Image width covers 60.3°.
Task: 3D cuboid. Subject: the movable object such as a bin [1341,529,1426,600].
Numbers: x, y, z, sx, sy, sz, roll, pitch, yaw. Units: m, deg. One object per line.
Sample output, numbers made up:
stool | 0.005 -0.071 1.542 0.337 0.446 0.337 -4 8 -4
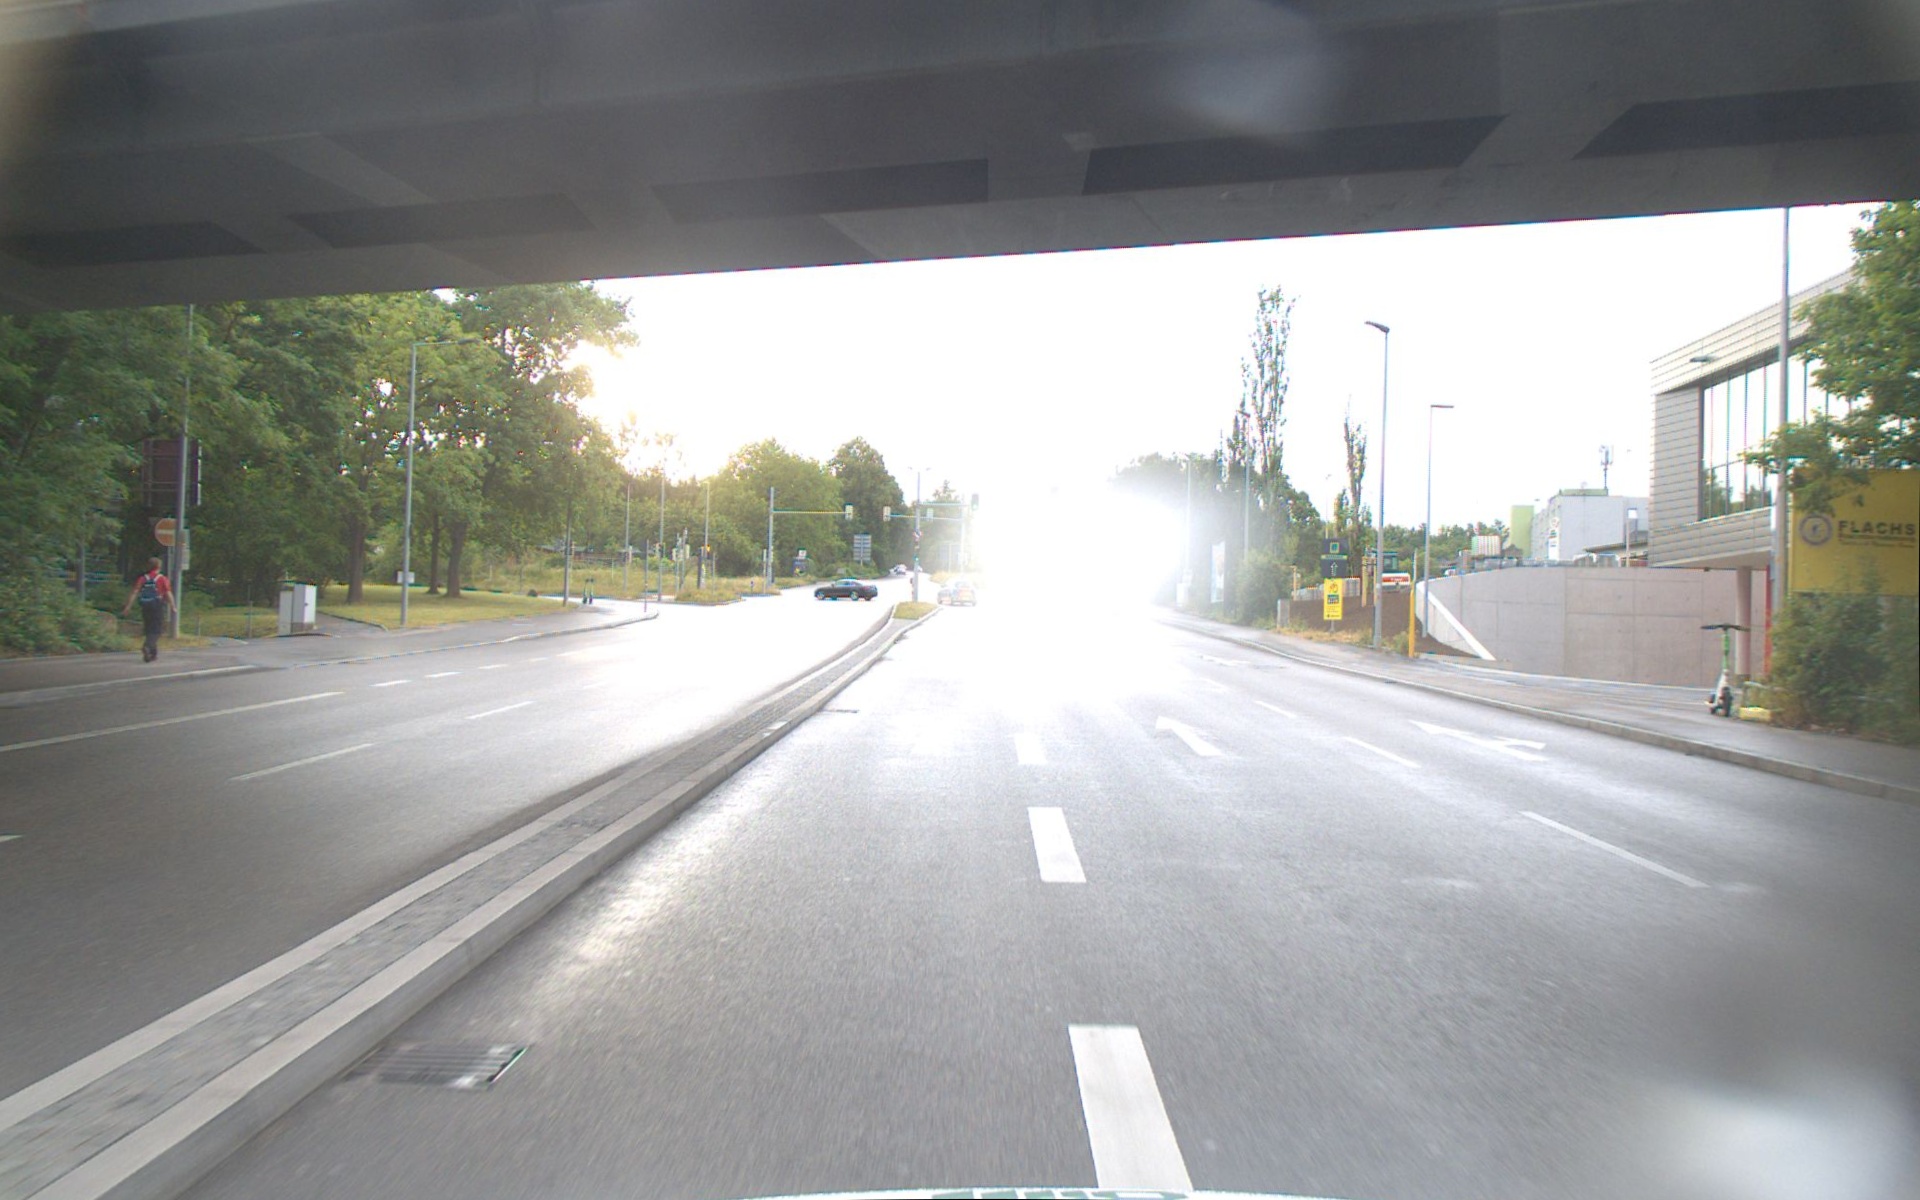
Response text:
movable object such as a bin | 20.991 -1.771 82.228 2.258 3.333 5.417 1 1 -7

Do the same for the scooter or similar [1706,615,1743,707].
scooter or similar | 10.019 0.778 21.695 0.250 1.149 1.280 2 0 18

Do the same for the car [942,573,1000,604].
car | 0.632 -0.726 100.791 2.047 1.748 4.170 3 -1 -22

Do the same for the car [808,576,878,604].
car | -7.769 -0.634 110.052 4.558 1.610 2.171 3 -1 -5

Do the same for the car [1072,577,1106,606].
car | 7.163 -0.492 92.119 1.708 1.495 4.168 2 1 2

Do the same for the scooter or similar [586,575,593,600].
scooter or similar | -18.472 -0.616 82.411 0.306 1.239 1.304 1 1 -13

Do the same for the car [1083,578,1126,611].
car | 7.001 -0.309 80.564 1.709 1.495 4.166 2 1 0

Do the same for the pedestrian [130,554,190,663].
pedestrian | -13.906 0.142 28.760 0.508 1.847 0.800 2 0 11
